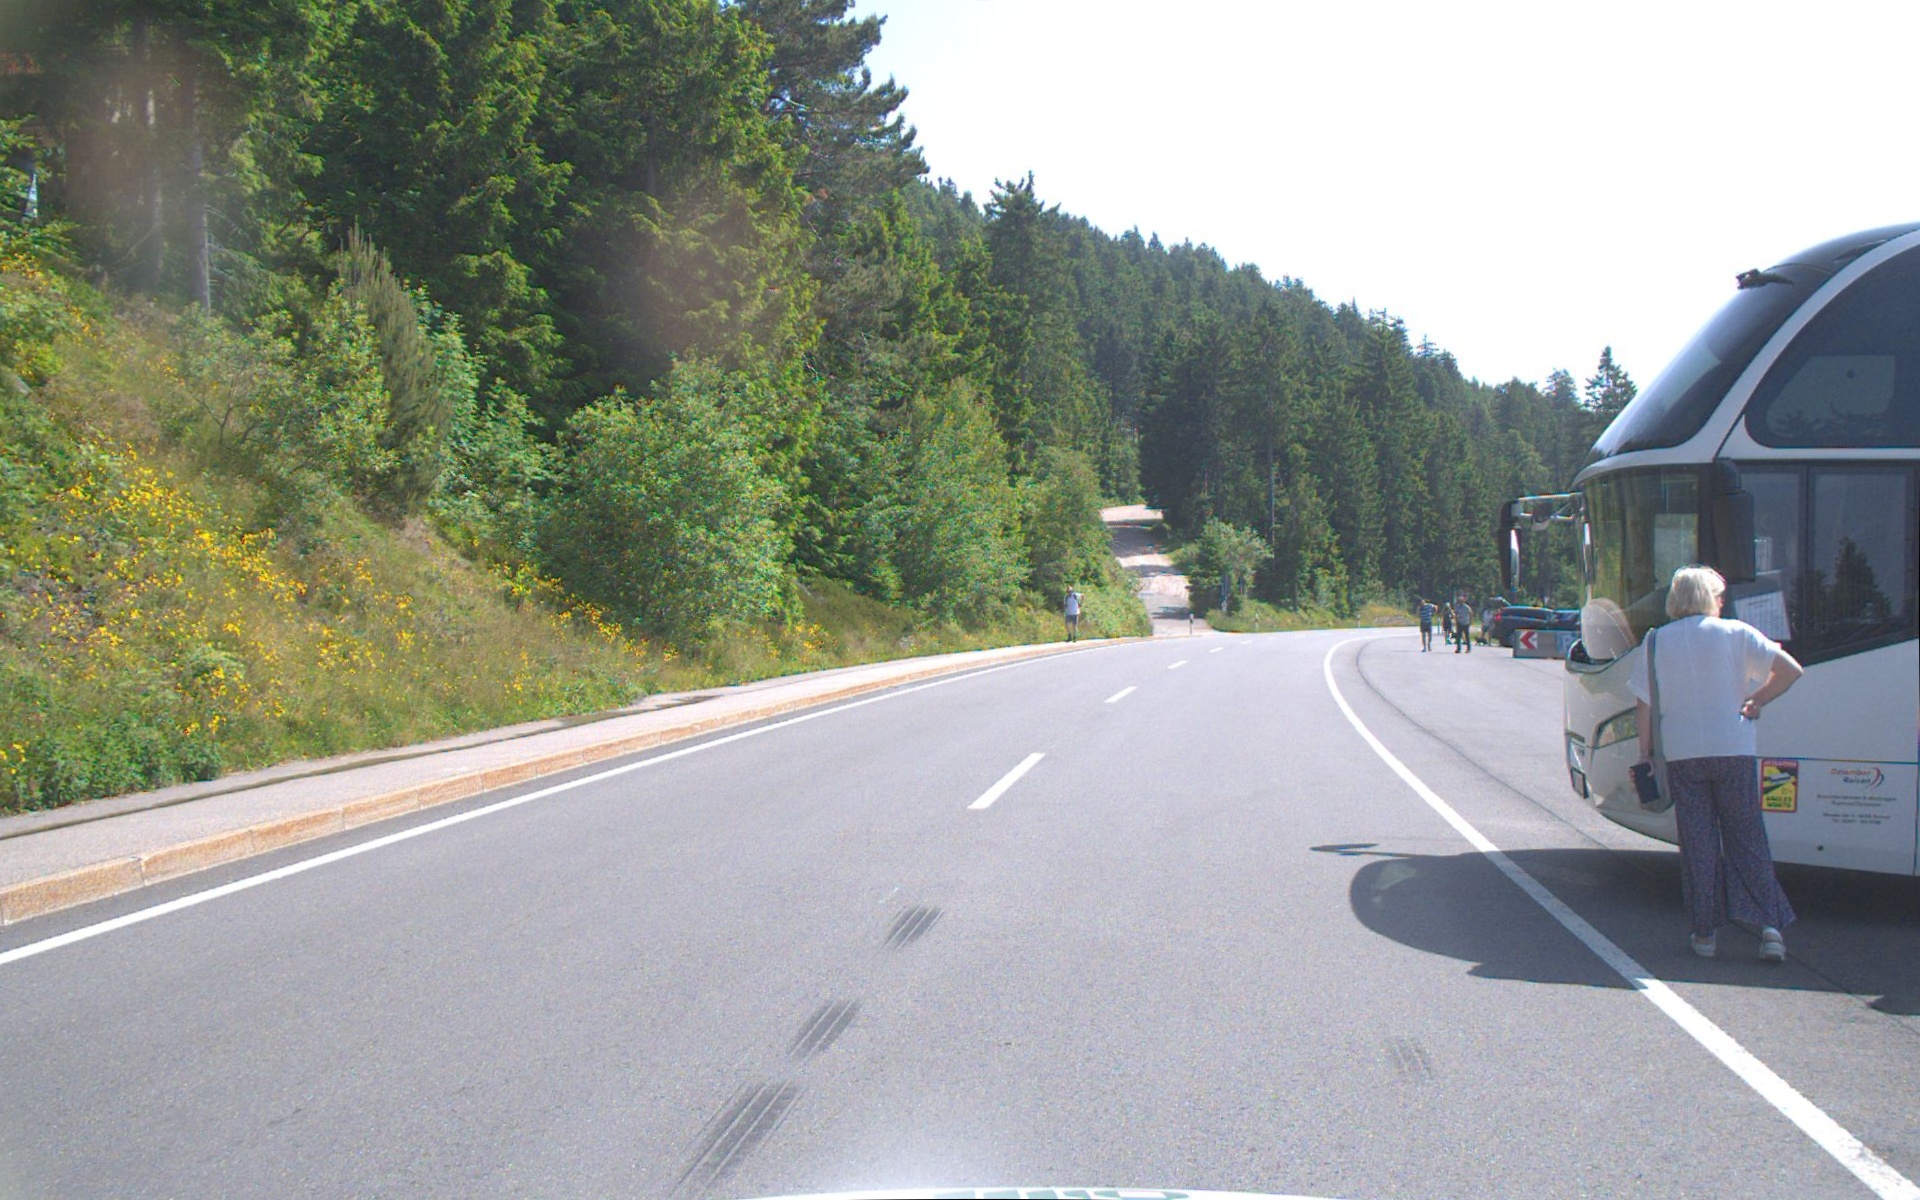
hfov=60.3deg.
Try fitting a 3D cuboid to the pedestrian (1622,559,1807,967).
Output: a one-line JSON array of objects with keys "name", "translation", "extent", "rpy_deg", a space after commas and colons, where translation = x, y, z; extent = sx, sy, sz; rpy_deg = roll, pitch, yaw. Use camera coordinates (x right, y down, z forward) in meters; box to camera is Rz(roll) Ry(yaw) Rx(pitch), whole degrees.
[{"name": "pedestrian", "translation": [3.286, 0.665, 7.252], "extent": [0.692, 1.671, 0.744], "rpy_deg": [0, 0, 23]}]

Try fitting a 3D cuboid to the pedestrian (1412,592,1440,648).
[{"name": "pedestrian", "translation": [15.043, 0.647, 53.332], "extent": [0.739, 1.791, 0.774], "rpy_deg": [0, 0, 26]}]

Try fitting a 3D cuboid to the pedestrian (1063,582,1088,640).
[{"name": "pedestrian", "translation": [3.581, 0.346, 51.229], "extent": [0.668, 1.777, 0.826], "rpy_deg": [1, 0, 8]}]

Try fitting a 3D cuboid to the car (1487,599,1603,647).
[{"name": "car", "translation": [23.928, 0.914, 67.786], "extent": [4.173, 1.825, 1.894], "rpy_deg": [1, 1, 10]}]

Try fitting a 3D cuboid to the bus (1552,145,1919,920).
[{"name": "bus", "translation": [9.668, -0.303, 7.989], "extent": [12.572, 3.640, 2.841], "rpy_deg": [0, 0, 13]}]

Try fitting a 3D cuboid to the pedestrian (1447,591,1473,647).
[{"name": "pedestrian", "translation": [15.988, 0.608, 52.869], "extent": [0.652, 1.771, 0.893], "rpy_deg": [0, 0, 26]}]
